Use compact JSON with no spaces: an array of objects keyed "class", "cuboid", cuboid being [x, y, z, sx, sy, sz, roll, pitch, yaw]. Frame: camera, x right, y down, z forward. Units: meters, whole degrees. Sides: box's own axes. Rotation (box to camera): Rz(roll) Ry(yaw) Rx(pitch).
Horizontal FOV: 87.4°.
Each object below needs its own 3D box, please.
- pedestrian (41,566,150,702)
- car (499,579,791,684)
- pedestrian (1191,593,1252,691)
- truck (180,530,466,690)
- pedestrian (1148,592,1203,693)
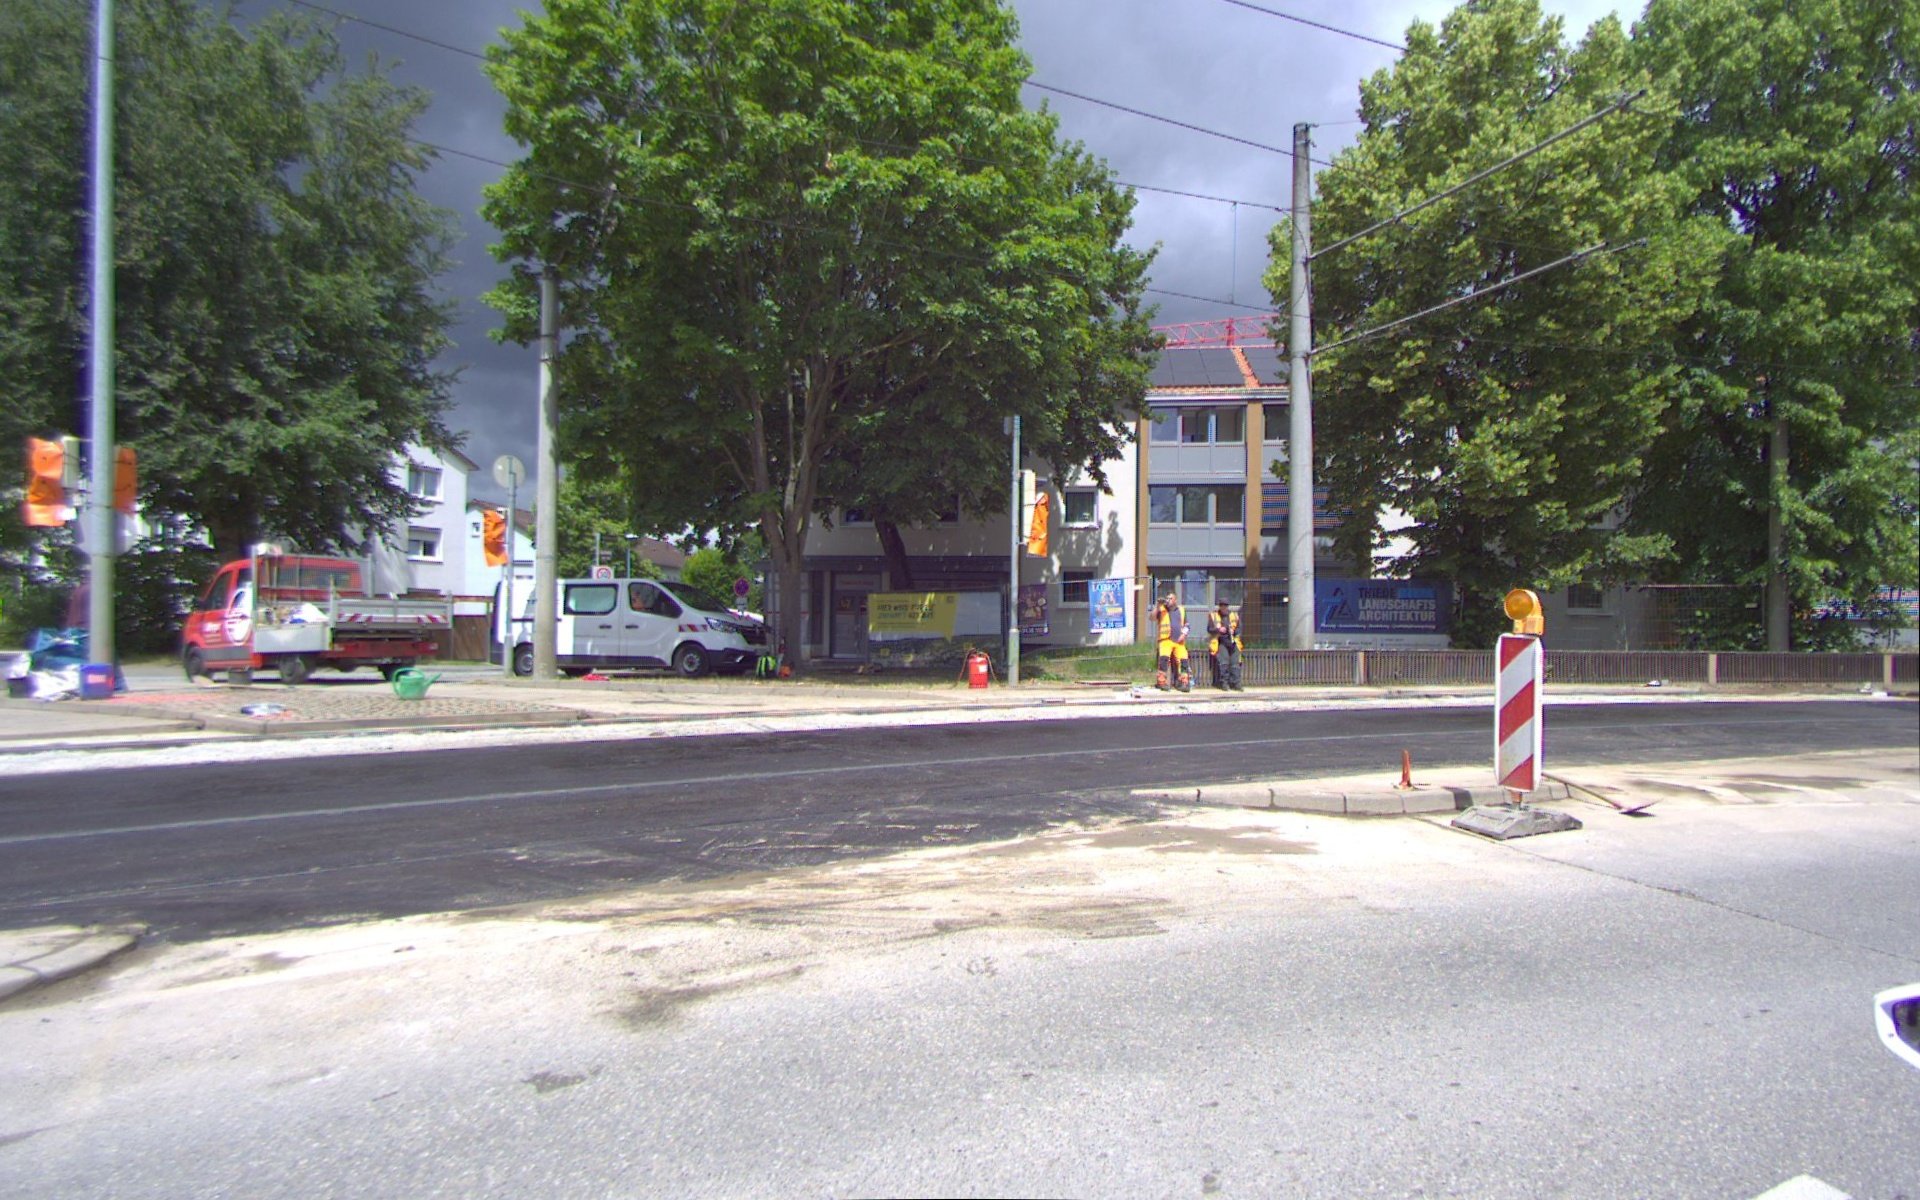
[{"class":"pedestrian","cuboid":[-11.195,0.421,13.018,0.913,1.682,0.872,0,0,34]},{"class":"car","cuboid":[-6.154,0.634,19.820,5.144,1.911,2.002,0,-3,12]},{"class":"pedestrian","cuboid":[4.298,0.673,16.472,0.890,1.553,0.841,0,-1,21]},{"class":"truck","cuboid":[-12.021,0.250,18.858,5.487,2.602,2.414,-2,-2,32]},{"class":"pedestrian","cuboid":[3.467,0.674,16.136,0.747,1.561,0.798,0,-1,21]}]
